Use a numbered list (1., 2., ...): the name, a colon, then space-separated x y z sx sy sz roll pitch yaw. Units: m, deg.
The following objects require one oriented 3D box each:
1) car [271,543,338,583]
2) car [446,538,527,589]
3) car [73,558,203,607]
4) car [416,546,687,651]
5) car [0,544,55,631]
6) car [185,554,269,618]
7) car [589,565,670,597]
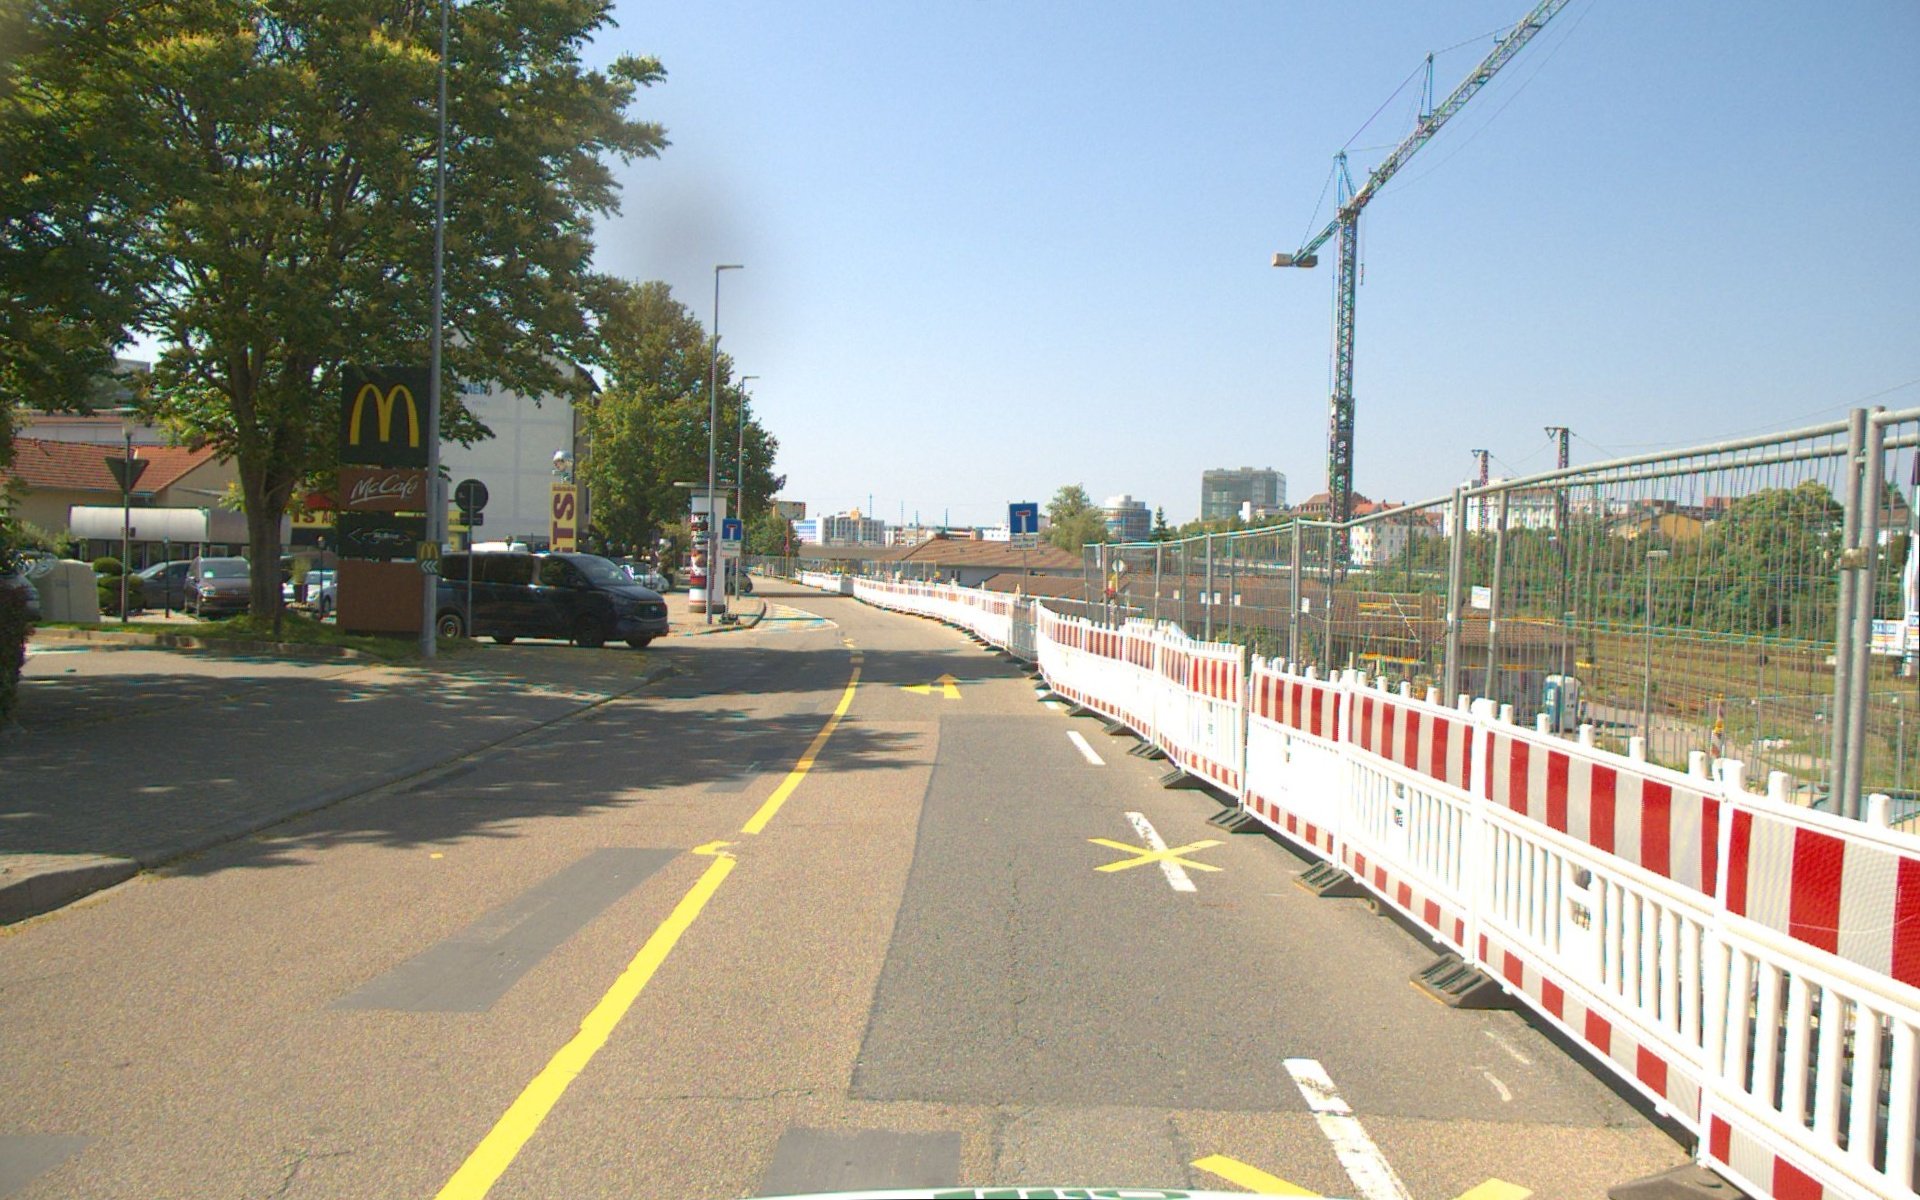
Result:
1. car: -24.821 -1.411 62.598 1.554 1.445 3.642 1 1 -35
2. car: -19.243 -1.490 67.171 1.810 1.963 3.946 1 1 -38
3. car: -26.145 -0.569 52.660 3.633 1.445 1.559 1 1 -28
4. car: -8.515 -0.069 34.456 5.253 1.969 2.000 2 1 20
5. car: -18.848 -0.274 30.672 3.912 1.559 1.817 2 1 29
6. car: -21.448 -0.432 48.314 1.971 1.758 3.964 1 1 -28
7. car: -16.406 -0.937 82.131 3.597 1.445 1.574 2 1 14
